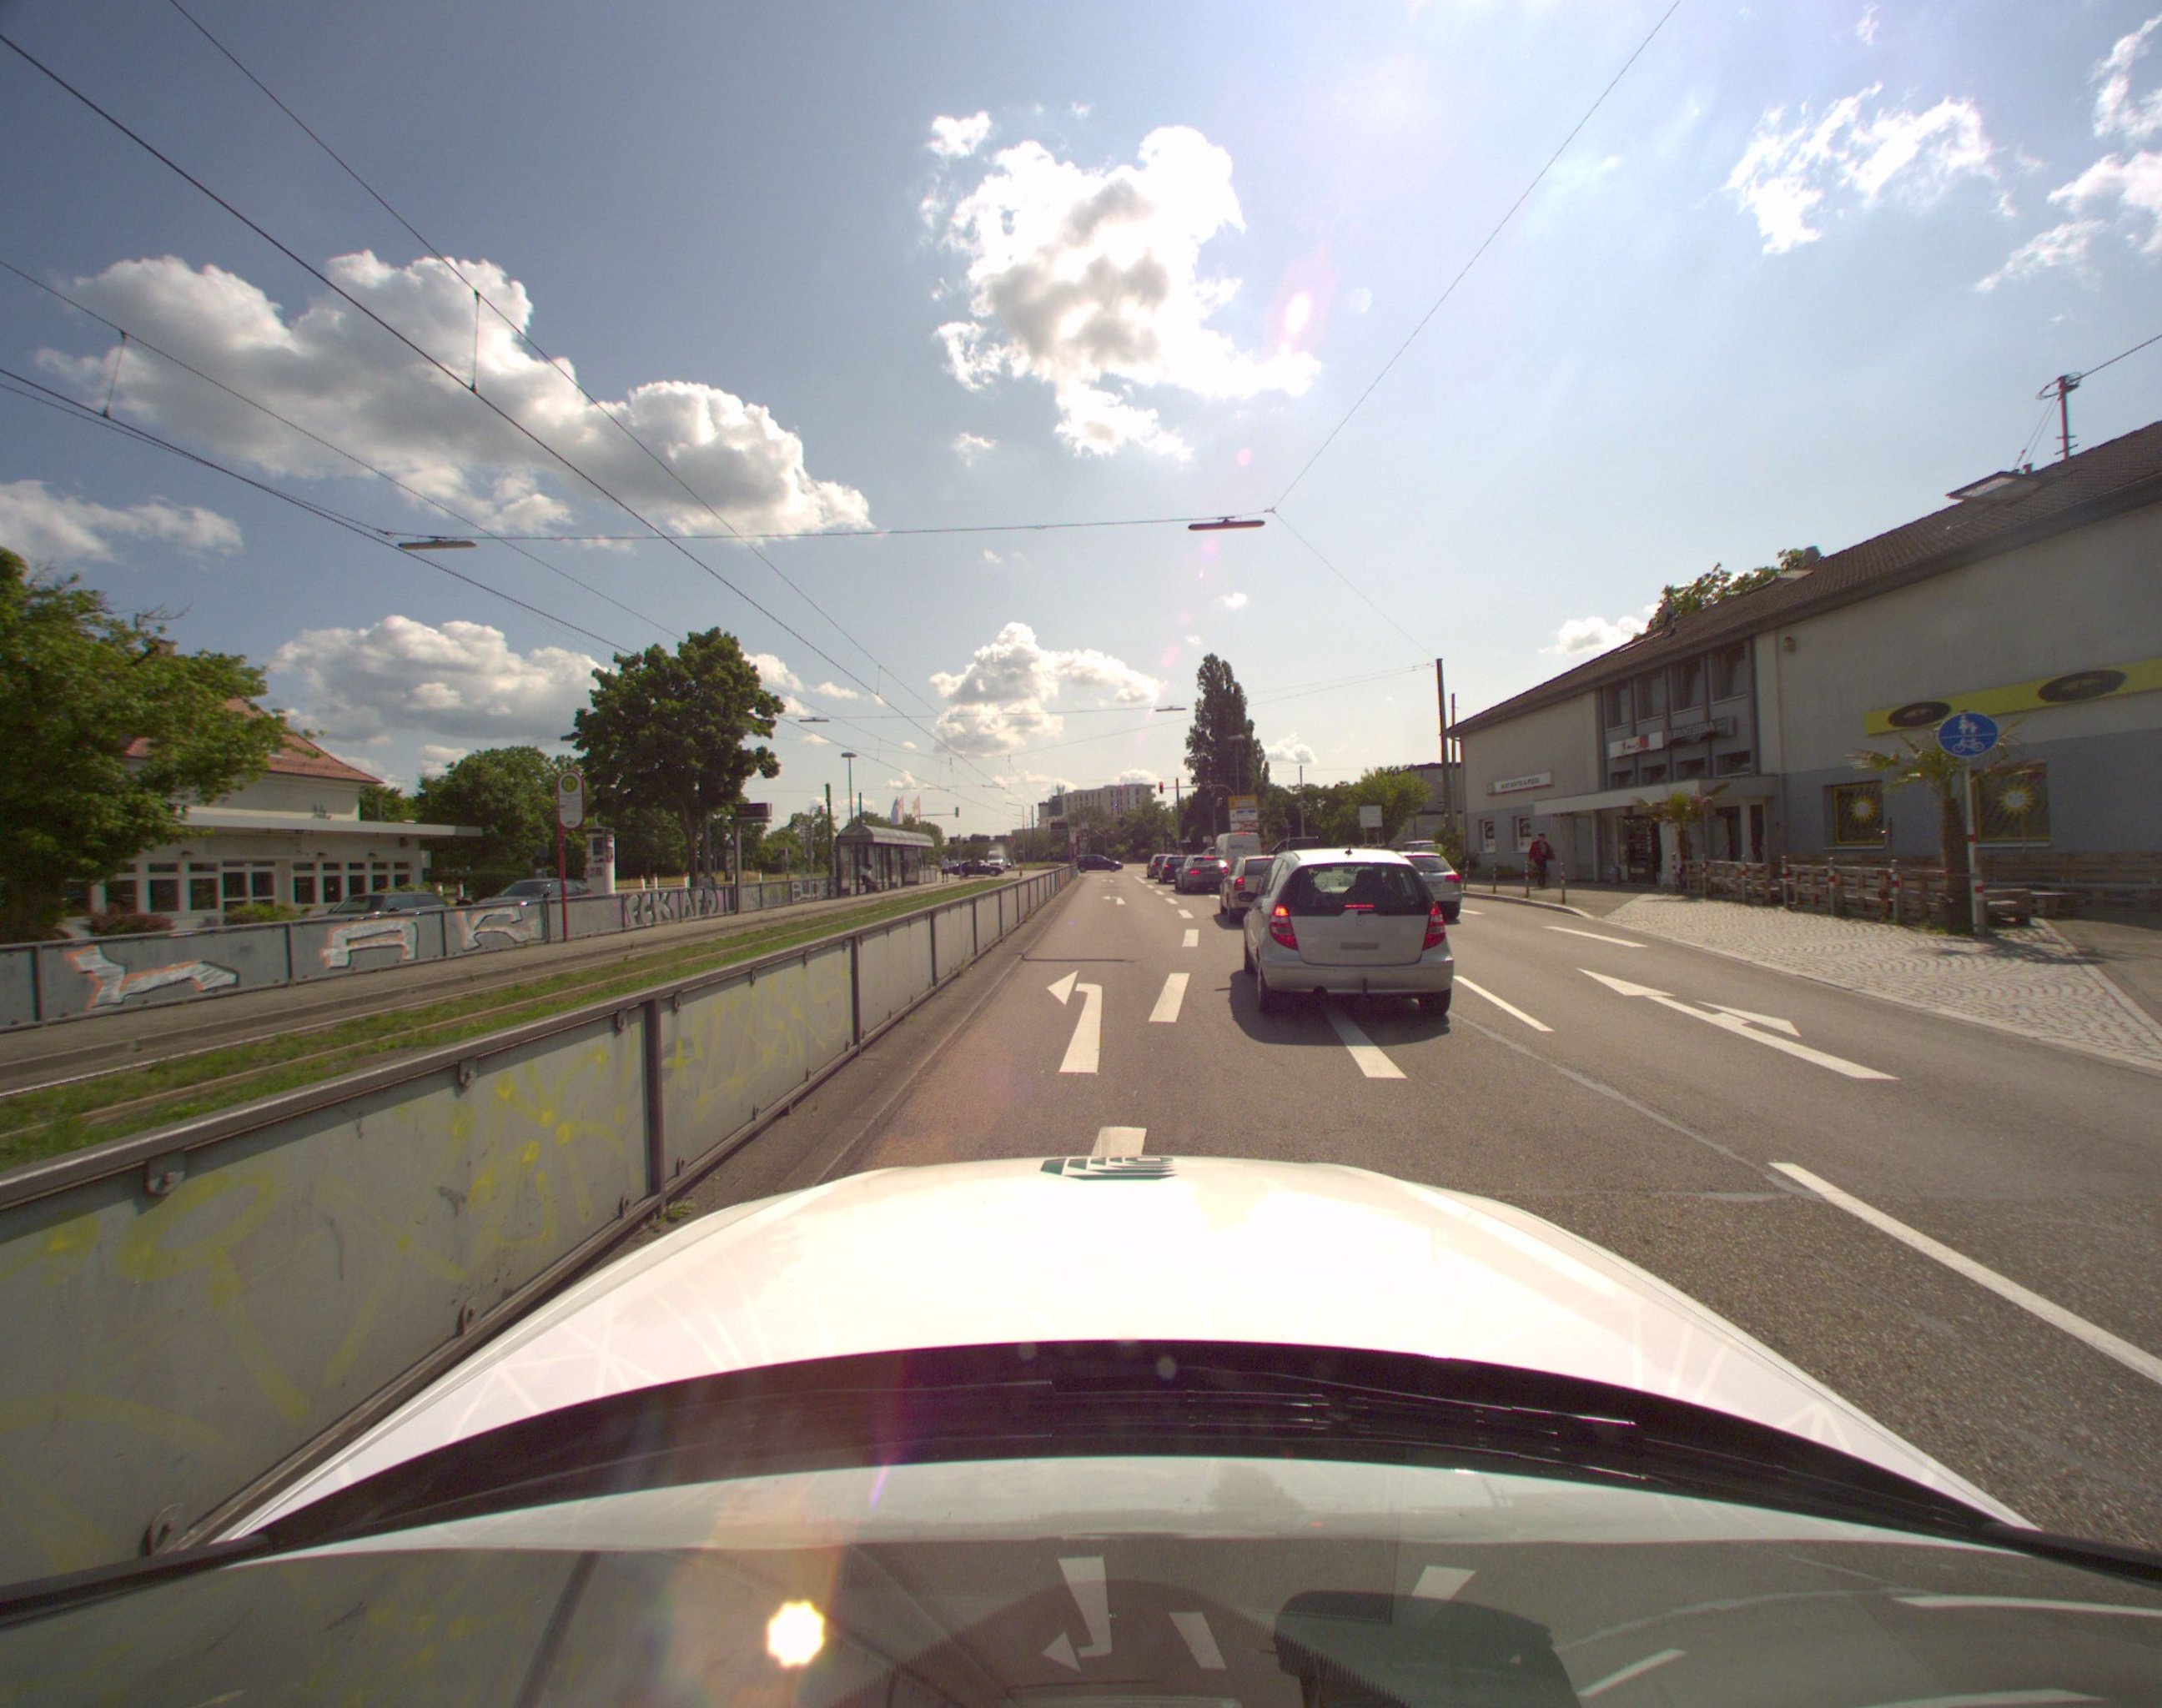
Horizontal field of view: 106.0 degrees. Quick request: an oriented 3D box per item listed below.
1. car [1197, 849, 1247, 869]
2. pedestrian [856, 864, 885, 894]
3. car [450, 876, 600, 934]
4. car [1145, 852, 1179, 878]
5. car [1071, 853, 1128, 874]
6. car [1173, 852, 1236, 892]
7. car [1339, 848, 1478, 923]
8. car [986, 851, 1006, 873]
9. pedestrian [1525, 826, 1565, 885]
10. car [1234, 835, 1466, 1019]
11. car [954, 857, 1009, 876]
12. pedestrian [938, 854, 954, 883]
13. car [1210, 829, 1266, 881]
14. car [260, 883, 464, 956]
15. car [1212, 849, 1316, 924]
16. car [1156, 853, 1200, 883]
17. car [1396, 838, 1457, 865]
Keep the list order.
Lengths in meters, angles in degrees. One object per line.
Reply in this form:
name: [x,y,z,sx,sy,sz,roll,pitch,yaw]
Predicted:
car: [14.079,0.493,81.338,4.659,1.936,2.001,-2,0,1]
pedestrian: [-9.724,1.144,37.601,1.055,1.376,0.861,-1,-1,1]
car: [-18.878,1.661,27.991,2.056,1.614,4.746,-3,0,-4]
car: [5.013,0.651,50.763,1.738,1.499,4.381,-1,0,2]
car: [1.646,0.836,70.620,4.650,1.549,2.004,-3,0,6]
car: [4.814,0.652,32.327,1.880,1.448,4.830,-1,0,2]
car: [7.374,0.645,18.854,1.845,1.492,4.545,-1,0,7]
car: [-10.408,0.988,100.226,1.987,2.606,4.877,-1,0,-1]
pedestrian: [14.526,0.054,25.516,0.718,1.782,0.703,-5,0,4]
car: [2.735,0.647,9.208,1.777,1.577,4.104,-2,0,9]
car: [-8.584,1.073,70.758,4.443,1.514,2.001,-1,-1,1]
pedestrian: [-8.467,0.902,51.004,0.805,1.795,0.708,-2,0,-1]
car: [8.355,0.047,43.710,2.033,2.557,5.232,-2,0,1]
car: [-18.966,1.670,21.755,1.779,1.584,3.934,-2,0,3]
car: [4.098,0.658,18.905,1.730,1.492,4.636,-1,0,5]
car: [4.952,0.681,42.146,1.863,1.419,4.101,-1,0,1]
car: [25.253,-0.192,59.518,4.105,1.731,1.873,-2,-2,-28]
